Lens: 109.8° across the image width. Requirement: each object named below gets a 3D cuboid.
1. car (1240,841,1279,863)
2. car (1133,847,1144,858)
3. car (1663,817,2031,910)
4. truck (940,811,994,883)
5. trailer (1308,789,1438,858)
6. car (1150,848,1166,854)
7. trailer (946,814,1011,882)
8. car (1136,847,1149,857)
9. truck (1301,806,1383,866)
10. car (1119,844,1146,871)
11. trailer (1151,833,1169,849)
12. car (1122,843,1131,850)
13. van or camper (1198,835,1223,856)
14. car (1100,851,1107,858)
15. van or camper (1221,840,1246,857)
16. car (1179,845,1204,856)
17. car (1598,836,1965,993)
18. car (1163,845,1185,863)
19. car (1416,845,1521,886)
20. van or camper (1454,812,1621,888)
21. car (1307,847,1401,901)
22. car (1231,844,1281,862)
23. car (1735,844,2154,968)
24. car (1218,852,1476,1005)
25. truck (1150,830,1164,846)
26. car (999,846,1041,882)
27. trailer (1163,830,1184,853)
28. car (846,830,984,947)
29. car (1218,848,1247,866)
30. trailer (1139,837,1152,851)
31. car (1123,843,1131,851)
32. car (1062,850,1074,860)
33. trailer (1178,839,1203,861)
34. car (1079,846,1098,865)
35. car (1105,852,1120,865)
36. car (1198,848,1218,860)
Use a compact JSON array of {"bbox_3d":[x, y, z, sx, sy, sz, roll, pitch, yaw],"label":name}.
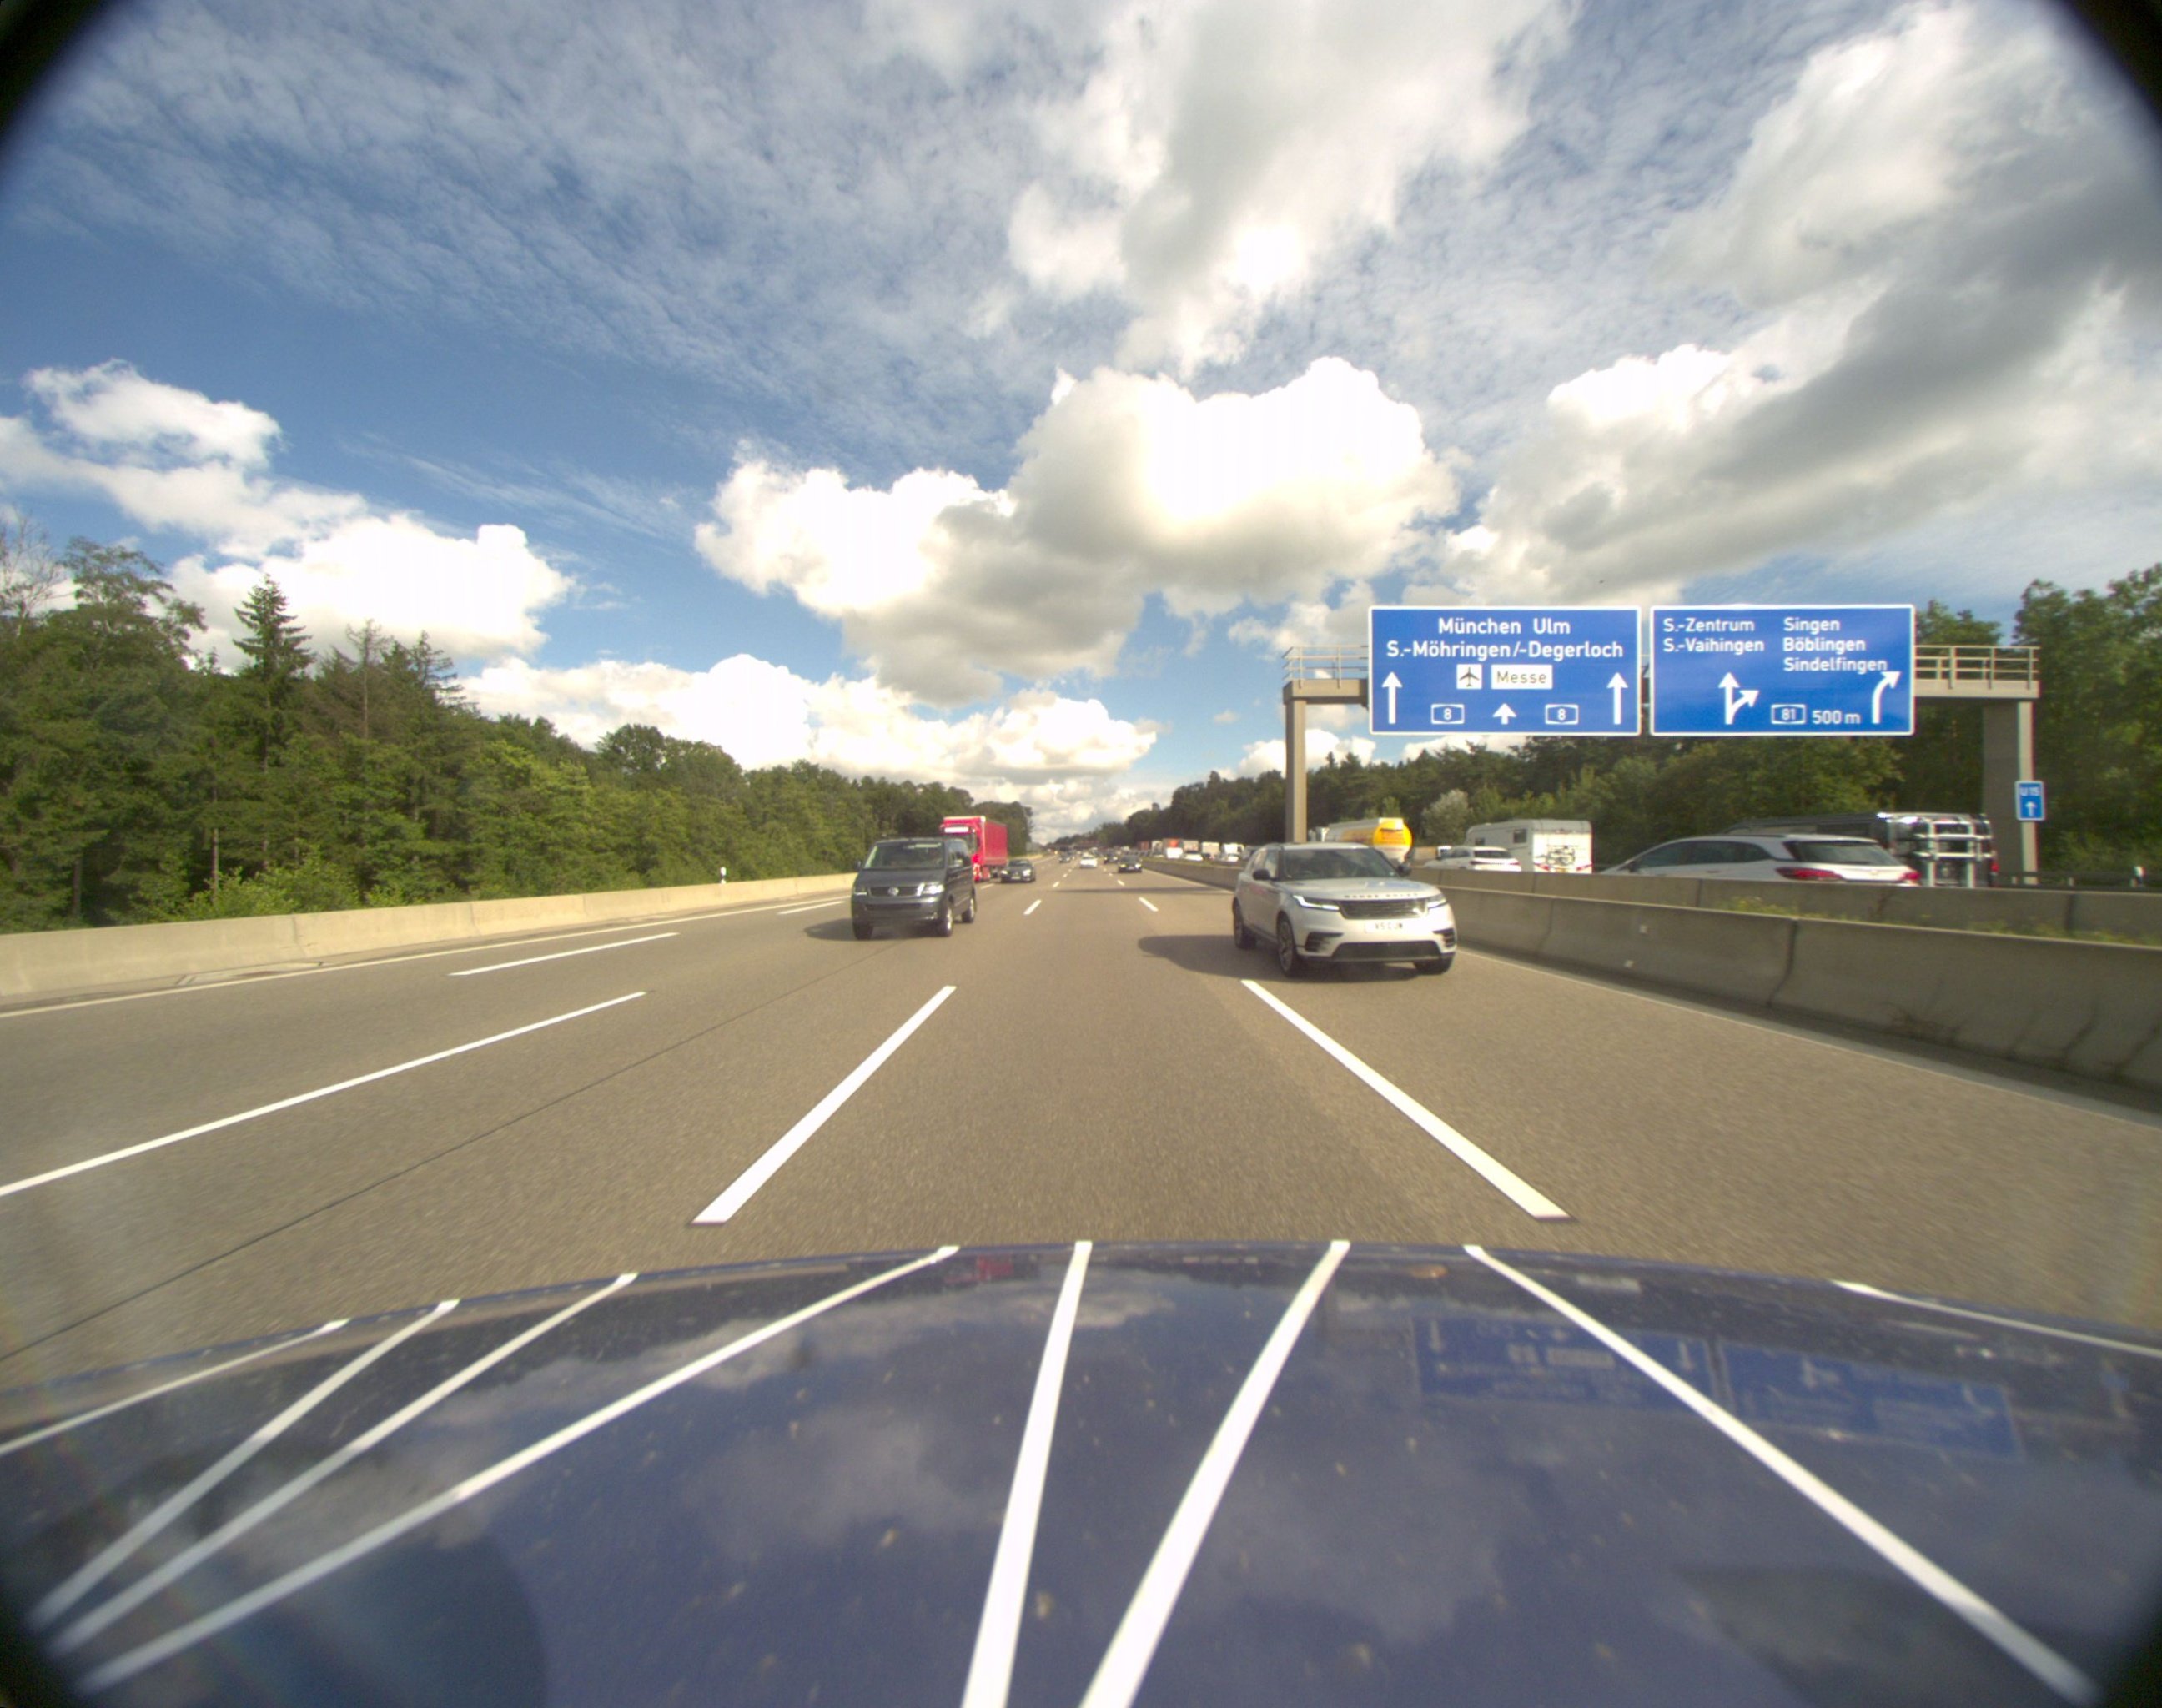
[{"bbox_3d":[14.607,-0.209,62.356,2.013,1.646,4.782,-2,1,0],"label":"car"},{"bbox_3d":[10.841,-0.362,143.779,1.747,2.002,4.682,-2,1,0],"label":"car"},{"bbox_3d":[14.328,0.137,14.862,1.792,1.441,5.375,-2,0,1],"label":"car"},{"bbox_3d":[-6.996,-0.426,47.156,2.532,4.178,4.652,-1,1,0],"label":"truck"},{"bbox_3d":[18.544,-1.753,49.797,3.420,3.806,13.259,-2,0,0],"label":"trailer"},{"bbox_3d":[10.390,-0.432,102.907,1.651,0.720,4.447,-2,1,0],"label":"car"},{"bbox_3d":[-6.973,-0.440,54.018,2.531,4.096,14.375,-1,1,0],"label":"trailer"},{"bbox_3d":[10.707,-0.378,132.125,1.821,1.754,4.629,-2,1,0],"label":"car"},{"bbox_3d":[18.556,-1.232,54.583,3.425,3.877,6.801,-2,0,0],"label":"truck"},{"bbox_3d":[4.135,0.254,61.798,1.919,2.002,4.000,-3,0,2],"label":"car"},{"bbox_3d":[18.766,-3.105,180.620,2.957,3.478,12.229,-2,1,0],"label":"trailer"},{"bbox_3d":[11.410,-1.786,189.752,1.821,1.735,4.902,-1,1,0],"label":"car"},{"bbox_3d":[19.050,-1.264,111.891,2.476,2.873,7.479,-2,2,1],"label":"van or camper"},{"bbox_3d":[5.814,0.153,197.663,1.804,1.783,3.758,-1,0,0],"label":"car"},{"bbox_3d":[18.579,-0.674,92.834,2.288,2.000,4.689,-2,1,4],"label":"van or camper"},{"bbox_3d":[10.339,-0.303,71.354,1.647,0.934,4.488,-2,0,0],"label":"car"},{"bbox_3d":[9.944,0.729,11.293,1.804,1.865,3.950,-2,0,1],"label":"car"},{"bbox_3d":[10.643,-0.048,87.329,1.837,2.050,5.500,0,1,0],"label":"car"},{"bbox_3d":[14.198,0.378,28.150,1.567,1.316,4.536,-2,0,1],"label":"car"},{"bbox_3d":[18.004,-0.219,30.621,2.330,2.628,7.395,-2,1,1],"label":"van or camper"},{"bbox_3d":[10.166,0.671,28.736,1.771,1.788,4.938,-2,0,1],"label":"car"},{"bbox_3d":[10.159,-0.077,44.408,1.671,0.922,5.463,-2,0,1],"label":"car"},{"bbox_3d":[14.074,0.704,12.941,1.804,1.622,4.662,-4,1,1],"label":"car"},{"bbox_3d":[3.345,0.802,10.794,1.904,1.597,5.105,-2,0,1],"label":"car"},{"bbox_3d":[18.780,-3.852,187.406,2.964,3.725,5.108,-1,1,0],"label":"truck"},{"bbox_3d":[-3.593,0.556,45.686,1.998,2.002,4.000,-2,0,2],"label":"car"},{"bbox_3d":[18.828,-2.621,155.398,2.646,4.295,13.174,-3,1,0],"label":"trailer"},{"bbox_3d":[-3.408,0.641,16.606,1.927,2.153,4.960,-1,0,-1],"label":"car"},{"bbox_3d":[14.611,0.266,73.433,1.837,1.528,4.242,-2,1,0],"label":"car"},{"bbox_3d":[19.394,-3.149,229.183,2.957,3.961,12.889,-2,1,0],"label":"trailer"},{"bbox_3d":[11.486,-1.681,189.794,1.821,1.871,4.902,-1,1,0],"label":"car"},{"bbox_3d":[-2.207,0.189,131.502,1.911,1.582,4.286,-2,1,-2],"label":"car"},{"bbox_3d":[19.017,-0.778,132.511,2.895,3.637,10.218,-1,1,0],"label":"trailer"},{"bbox_3d":[0.865,0.193,85.208,1.998,2.002,4.000,-2,0,2],"label":"car"},{"bbox_3d":[4.559,0.618,109.319,1.911,1.582,4.287,-2,1,0],"label":"car"},{"bbox_3d":[14.979,-0.016,89.612,1.667,1.249,3.590,-2,0,0],"label":"car"}]
